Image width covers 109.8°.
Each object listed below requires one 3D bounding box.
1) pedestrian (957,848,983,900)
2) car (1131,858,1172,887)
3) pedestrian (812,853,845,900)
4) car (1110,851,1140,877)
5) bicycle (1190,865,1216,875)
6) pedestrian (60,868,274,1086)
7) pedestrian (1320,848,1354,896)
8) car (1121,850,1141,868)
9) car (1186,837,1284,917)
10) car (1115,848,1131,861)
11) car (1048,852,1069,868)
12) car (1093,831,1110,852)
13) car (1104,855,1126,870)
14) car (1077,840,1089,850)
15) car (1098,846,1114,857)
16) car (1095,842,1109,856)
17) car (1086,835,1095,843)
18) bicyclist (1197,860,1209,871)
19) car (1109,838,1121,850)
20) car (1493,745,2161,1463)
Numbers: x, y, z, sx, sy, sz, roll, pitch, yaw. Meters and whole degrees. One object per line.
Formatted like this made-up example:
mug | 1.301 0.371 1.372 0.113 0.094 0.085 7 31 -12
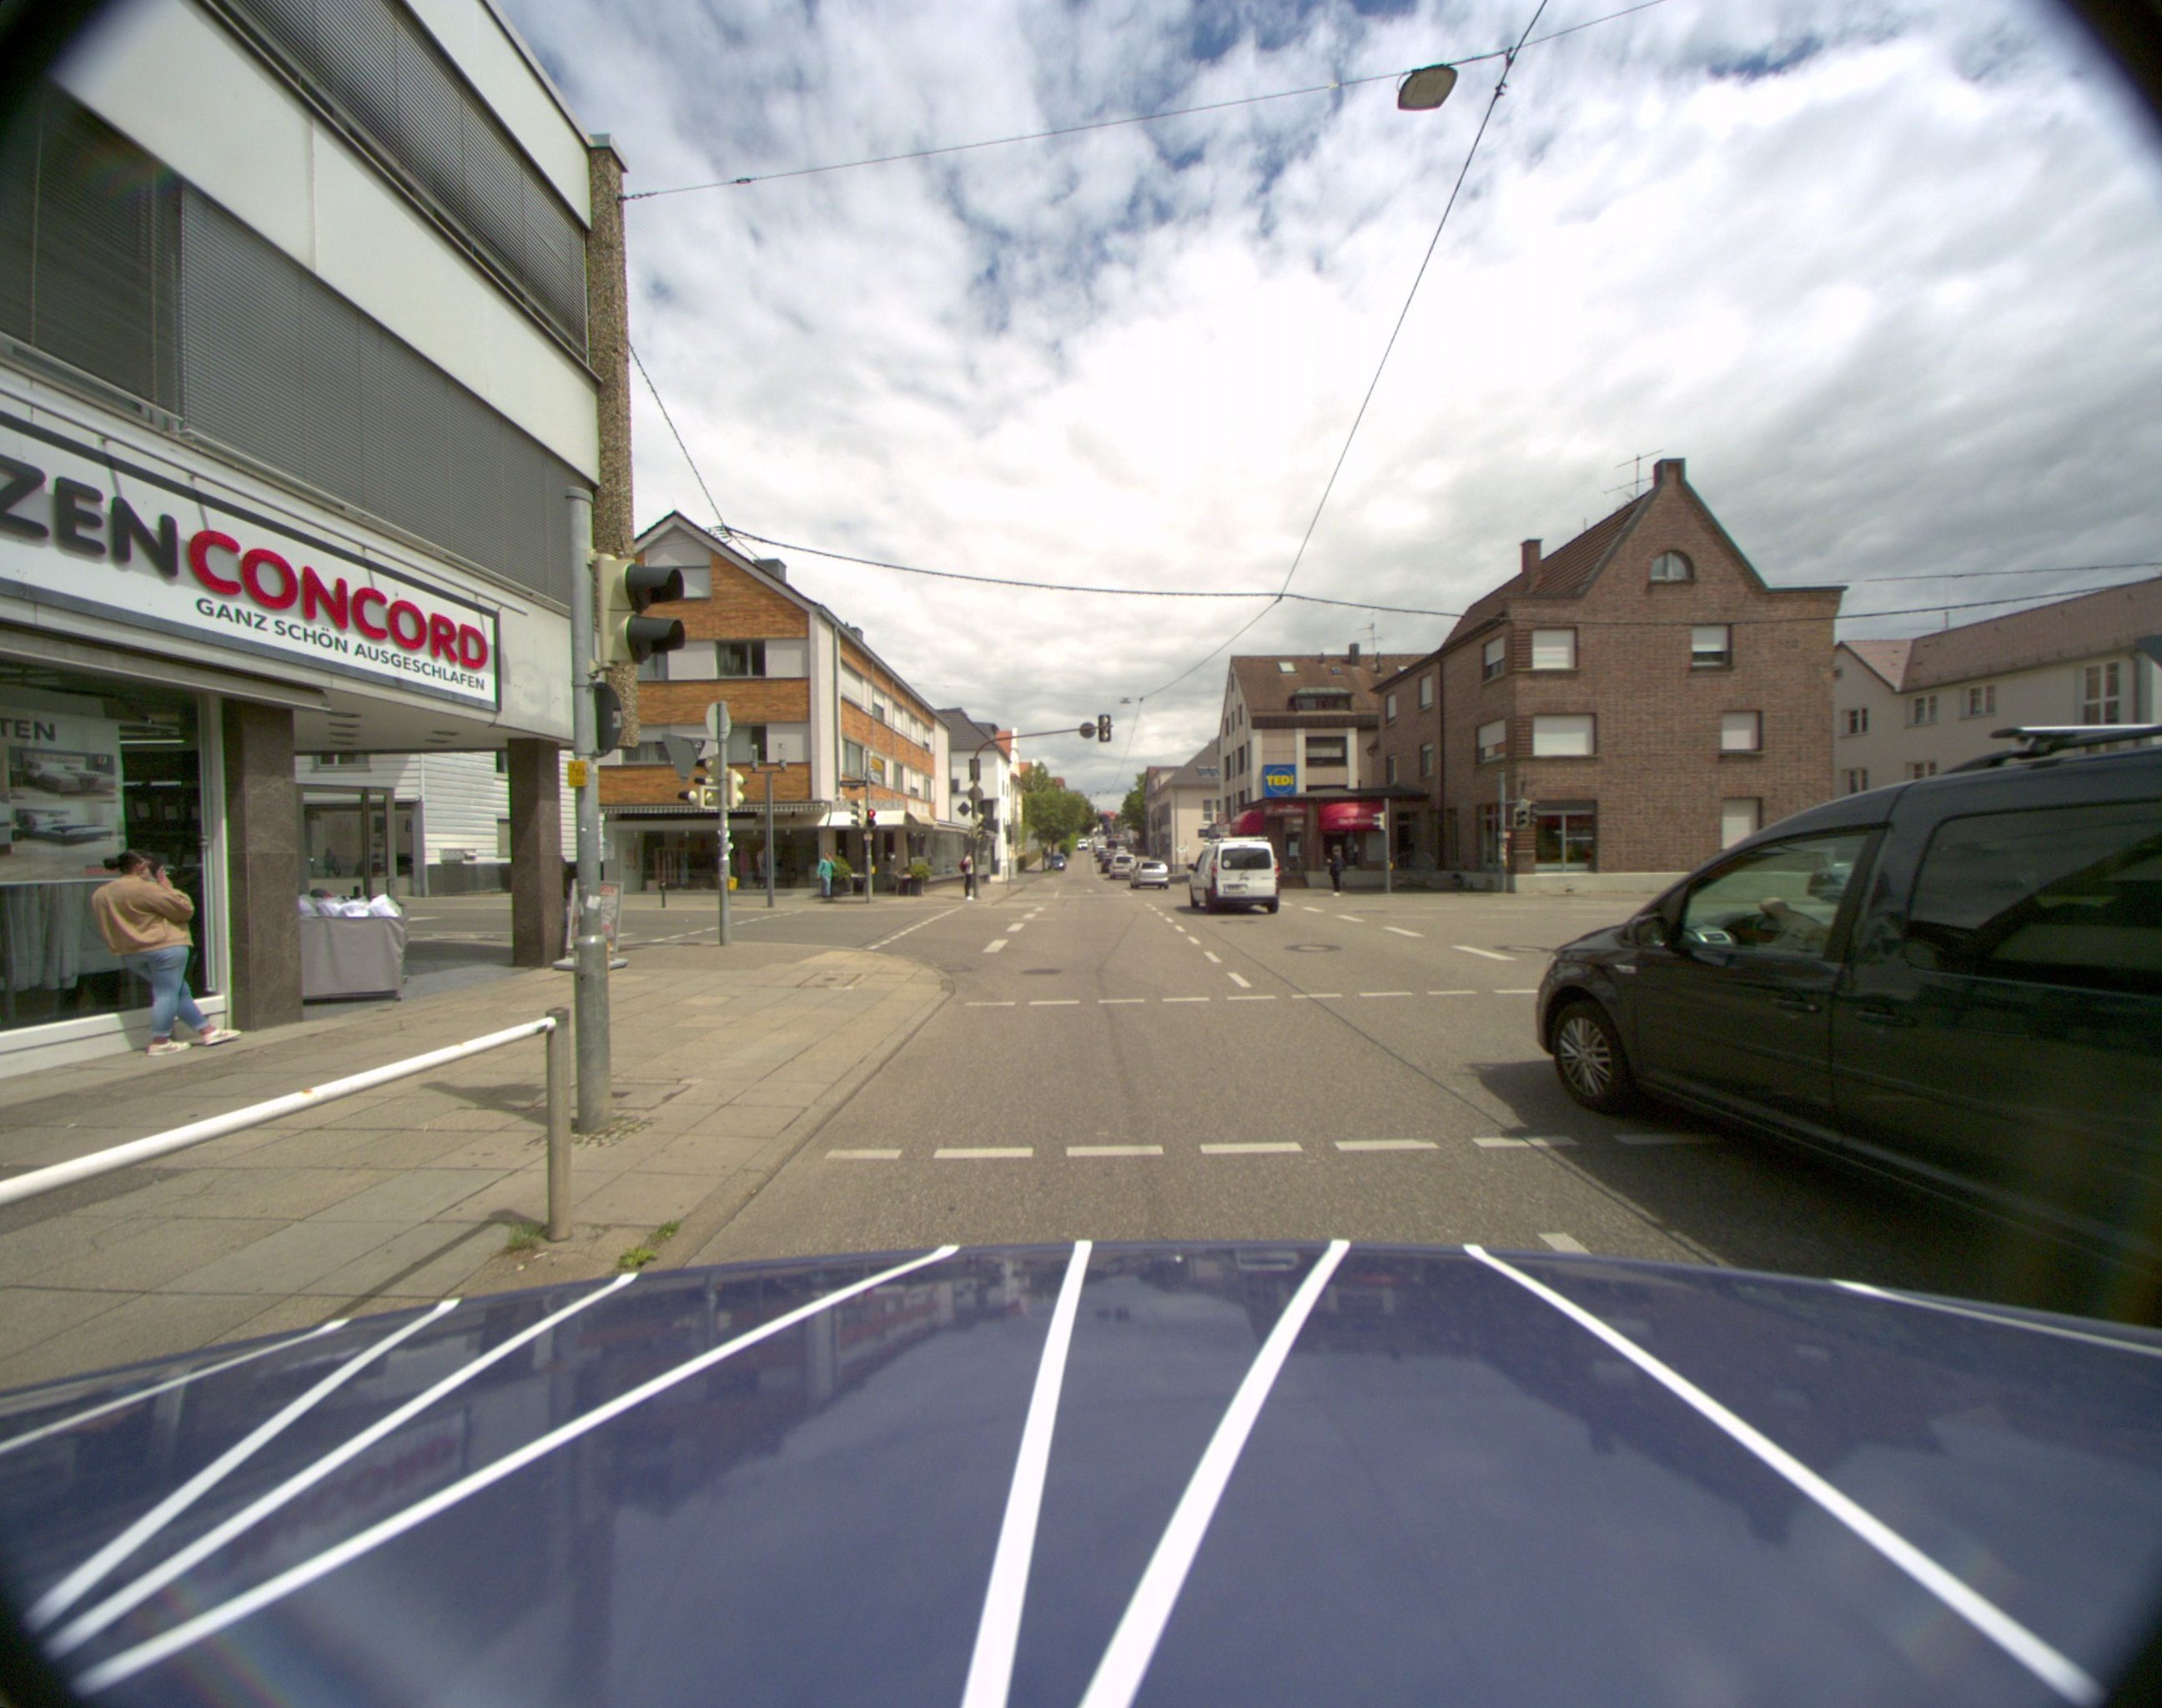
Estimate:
pedestrian | -3.972 0.699 27.117 0.581 1.820 0.882 1 1 17
car | 3.711 0.941 40.464 1.757 1.478 3.970 0 0 -1
pedestrian | -8.176 0.716 24.652 0.818 1.517 0.779 0 0 0
car | 3.472 0.739 60.774 1.982 1.985 5.027 0 0 -1
bicycle | 9.021 1.172 56.061 2.291 0.724 0.663 0 0 -43
pedestrian | -6.685 0.857 5.599 0.681 1.490 0.720 0 1 1
pedestrian | 9.350 0.627 27.727 0.908 1.713 0.849 -1 1 -41
car | 6.068 0.537 91.797 2.111 2.109 4.765 -1 0 0
car | 3.963 0.555 20.188 1.819 1.919 4.112 0 0 1
car | 6.018 0.014 109.216 2.111 1.778 4.529 -1 0 0
car | -2.350 0.579 80.245 1.998 1.654 4.000 0 0 1
car | 3.410 -2.008 126.772 2.428 3.409 7.636 0 0 -1
car | 3.264 0.821 73.797 1.858 1.371 4.271 0 0 -1
car | 0.397 -1.591 135.602 2.000 1.797 4.765 3 0 -1
car | 3.198 -0.273 98.891 1.858 1.414 4.192 0 0 -1
car | 3.042 -0.720 111.161 1.858 1.957 4.192 0 0 -1
car | 2.104 -3.413 173.092 1.998 1.654 4.000 0 0 1
bicyclist | 9.009 0.870 56.067 0.893 0.803 0.494 -1 0 -45
car | 6.365 -1.841 142.307 2.111 2.109 4.765 0 1 0
car | 3.780 0.645 2.717 1.953 1.866 4.876 0 0 0
